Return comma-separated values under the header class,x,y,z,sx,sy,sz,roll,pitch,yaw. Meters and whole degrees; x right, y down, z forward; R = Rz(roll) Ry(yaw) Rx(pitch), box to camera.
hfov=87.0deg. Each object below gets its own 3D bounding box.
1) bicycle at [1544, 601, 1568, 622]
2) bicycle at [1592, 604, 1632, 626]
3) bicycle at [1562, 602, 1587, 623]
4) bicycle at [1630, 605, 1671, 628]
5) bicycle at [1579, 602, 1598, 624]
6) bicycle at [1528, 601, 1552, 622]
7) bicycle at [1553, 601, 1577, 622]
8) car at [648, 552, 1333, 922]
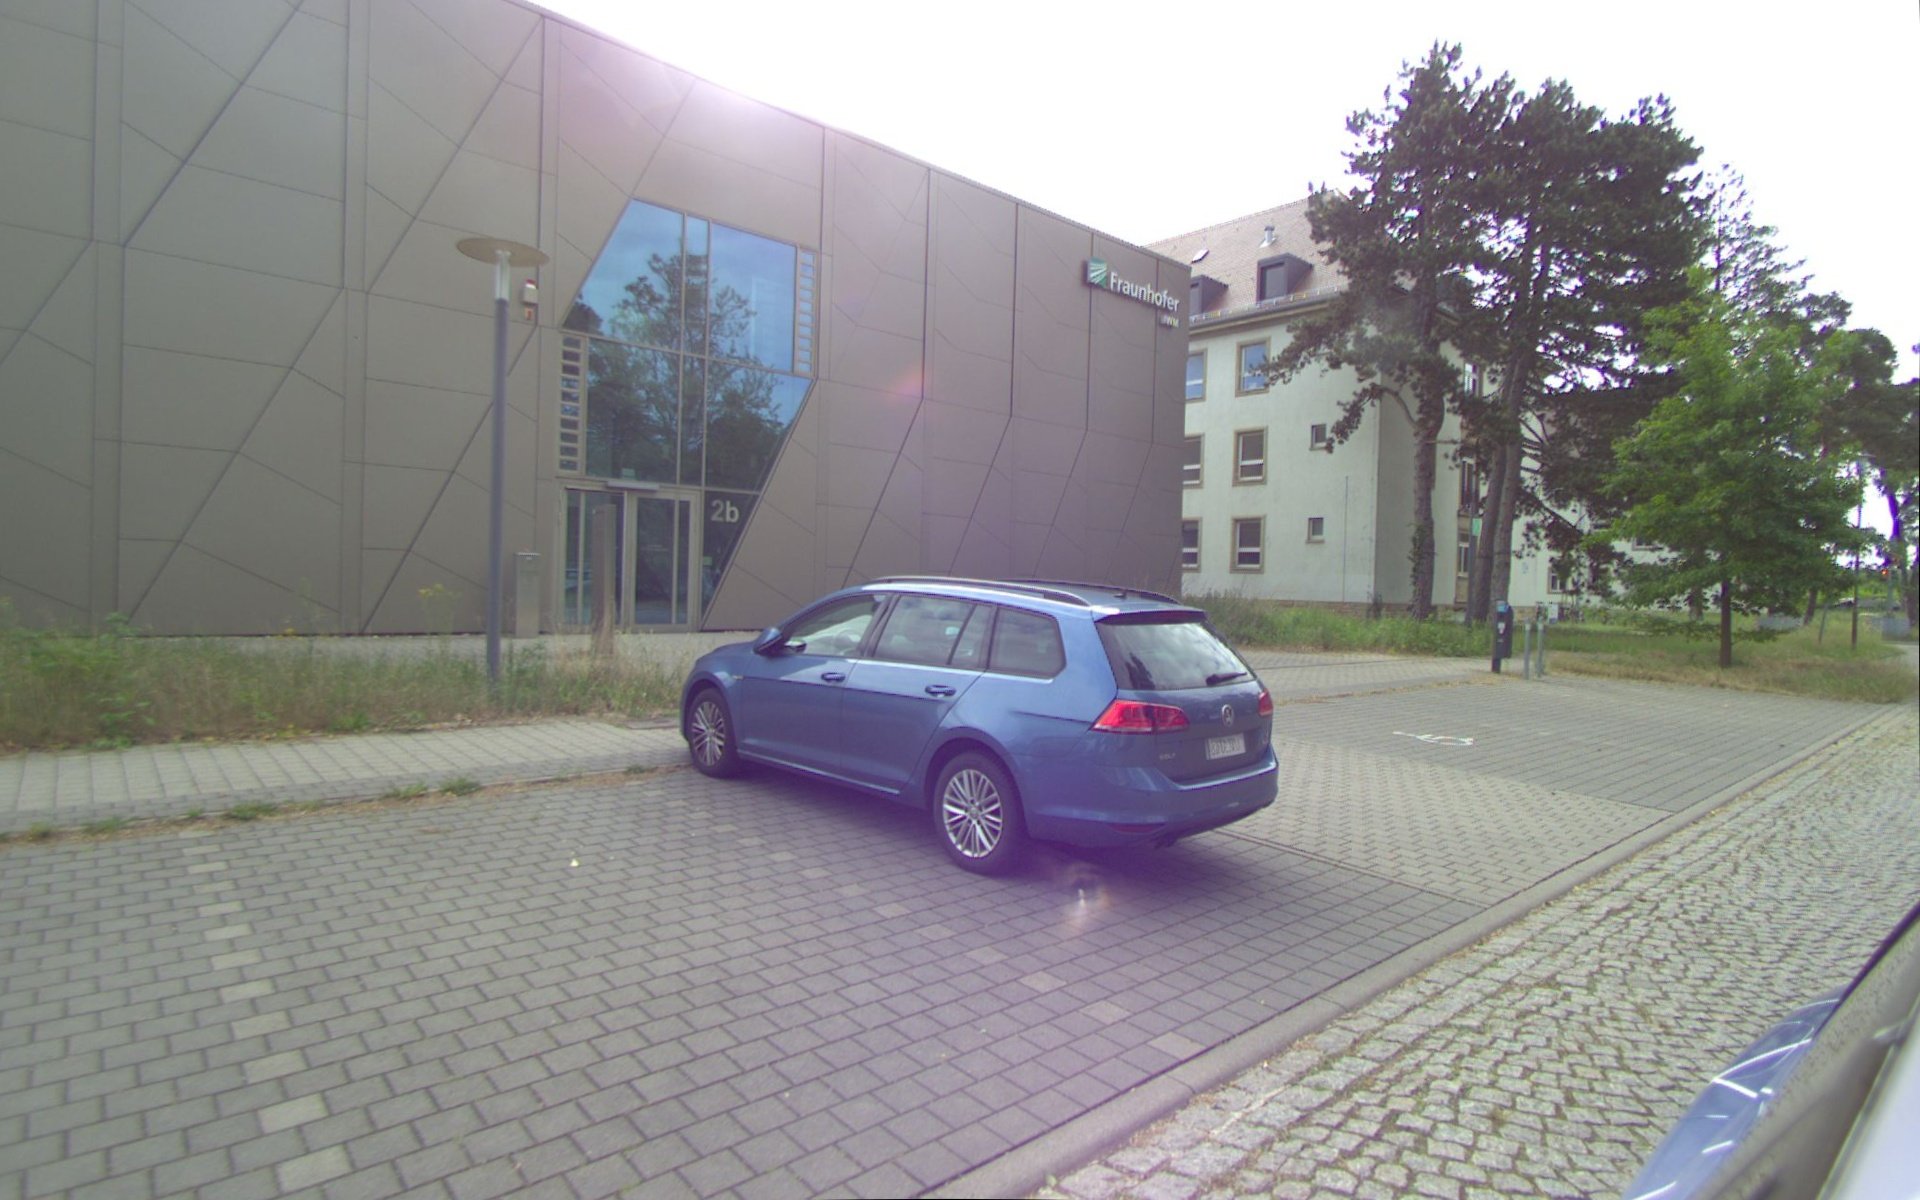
class,x,y,z,sx,sy,sz,roll,pitch,yaw
bicycle,33.581,0.653,57.028,1.697,1.142,0.448,1,1,-34
bicycle,34.582,0.794,53.664,0.603,1.099,1.655,1,1,-39
bicycle,34.156,0.683,56.241,1.670,1.142,0.477,1,1,-34
bicycle,35.806,0.851,52.484,0.604,1.099,1.652,1,1,-45
bicycle,34.735,0.719,55.928,1.629,1.142,0.476,1,1,-43
bicycle,33.023,0.651,57.592,1.697,1.142,0.448,1,1,-34
bicycle,33.848,0.655,56.627,1.668,1.142,0.448,1,1,-34
car,-0.142,0.528,6.647,1.800,1.493,4.496,1,3,-44
